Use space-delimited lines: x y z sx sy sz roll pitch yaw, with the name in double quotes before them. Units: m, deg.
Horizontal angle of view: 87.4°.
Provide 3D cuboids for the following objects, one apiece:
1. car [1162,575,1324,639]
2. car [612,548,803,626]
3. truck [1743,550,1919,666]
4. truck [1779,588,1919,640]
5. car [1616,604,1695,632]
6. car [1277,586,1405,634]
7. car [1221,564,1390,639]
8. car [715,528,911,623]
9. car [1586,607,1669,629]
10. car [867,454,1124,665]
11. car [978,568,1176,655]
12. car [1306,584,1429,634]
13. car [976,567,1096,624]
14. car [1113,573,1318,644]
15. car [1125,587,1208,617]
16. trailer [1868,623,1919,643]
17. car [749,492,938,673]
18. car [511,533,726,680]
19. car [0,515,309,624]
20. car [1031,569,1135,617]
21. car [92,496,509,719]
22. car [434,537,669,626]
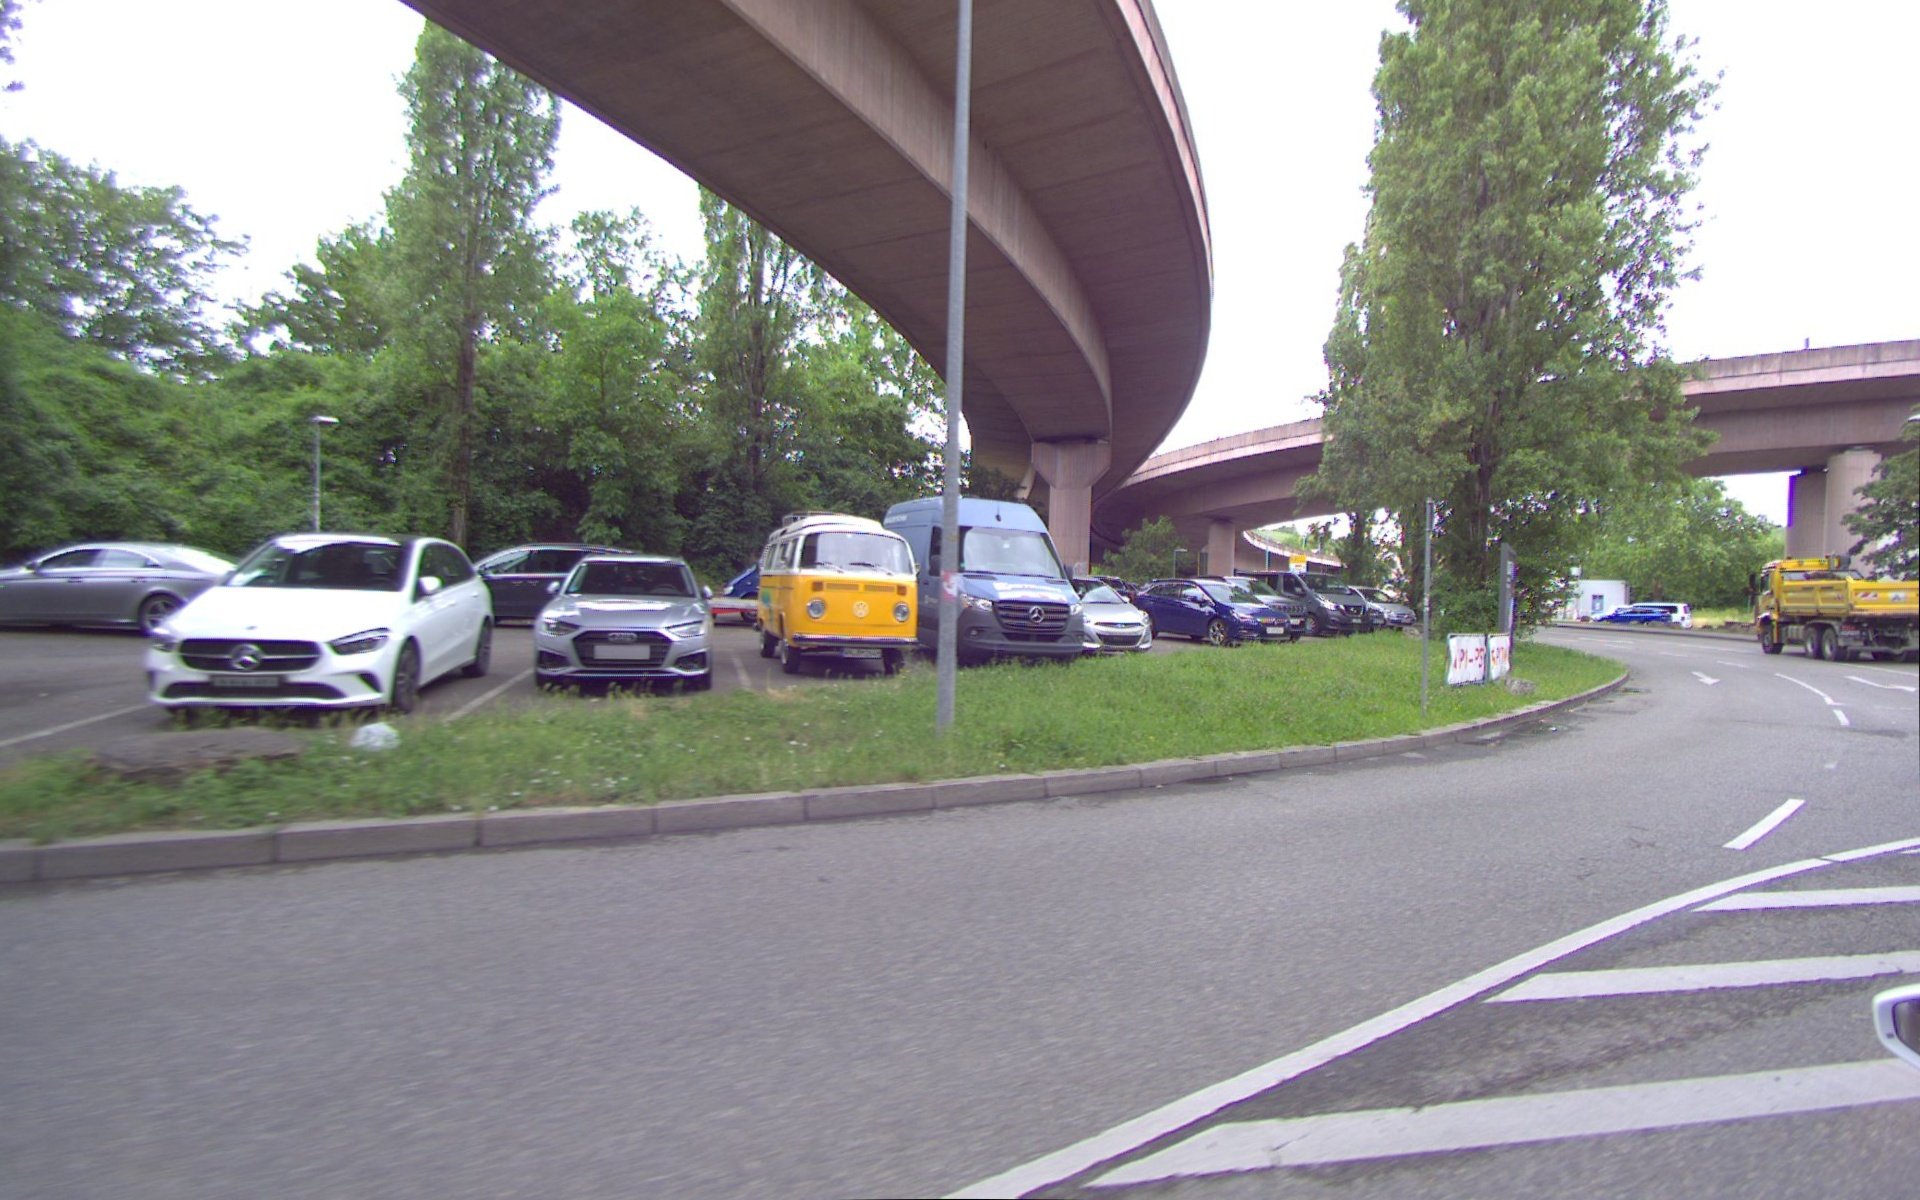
"car" 7.413 0.189 26.794 1.869 1.532 4.427 1 -1 -22
"car" -5.927 -0.277 23.988 4.073 1.698 1.901 1 -1 -2
"truck" 30.219 0.277 34.579 2.879 3.528 8.242 -1 0 22
"truck" 48.539 0.754 54.139 2.672 2.586 7.228 1 0 -3
"car" 49.674 1.260 71.774 1.982 1.881 4.281 2 -2 -38
"car" 14.099 0.410 37.466 1.971 1.573 4.348 -1 -3 -23
"car" 10.754 0.052 31.755 2.227 2.099 5.080 3 -1 -22
"car" -3.824 -0.598 26.726 4.923 2.284 2.123 1 -1 -5
"car" 46.143 1.252 69.493 1.979 1.461 4.417 2 -2 -33
"car" 0.241 -0.593 16.517 2.329 2.761 6.172 1 1 -17
"car" 2.069 0.224 19.093 1.971 1.434 4.272 2 -1 -21
"car" 15.942 0.369 39.533 1.988 1.814 4.375 1 -1 -24
"car" 2.790 -0.138 37.459 4.218 1.824 1.846 -3 -1 -2
"car" 5.965 0.205 24.069 2.051 1.508 4.818 1 -1 -28
"car" 9.795 0.075 47.676 3.637 1.373 1.652 0 0 -25
"trailer" 44.944 1.522 46.724 2.115 0.753 6.289 -2 -1 24
"car" -1.851 -0.246 14.351 1.821 2.139 4.553 2 1 -17
"car" -3.854 -0.009 11.850 1.967 1.389 4.243 2 2 -15
"car" -13.084 -0.486 15.513 4.794 1.508 1.862 1 2 -3
"car" 5.229 -0.311 42.864 4.008 1.735 1.656 4 2 -8
"car" -5.870 -0.009 9.678 1.921 1.627 4.383 2 2 -13
"car" -8.392 -0.349 20.924 4.072 1.698 1.901 1 -1 0
